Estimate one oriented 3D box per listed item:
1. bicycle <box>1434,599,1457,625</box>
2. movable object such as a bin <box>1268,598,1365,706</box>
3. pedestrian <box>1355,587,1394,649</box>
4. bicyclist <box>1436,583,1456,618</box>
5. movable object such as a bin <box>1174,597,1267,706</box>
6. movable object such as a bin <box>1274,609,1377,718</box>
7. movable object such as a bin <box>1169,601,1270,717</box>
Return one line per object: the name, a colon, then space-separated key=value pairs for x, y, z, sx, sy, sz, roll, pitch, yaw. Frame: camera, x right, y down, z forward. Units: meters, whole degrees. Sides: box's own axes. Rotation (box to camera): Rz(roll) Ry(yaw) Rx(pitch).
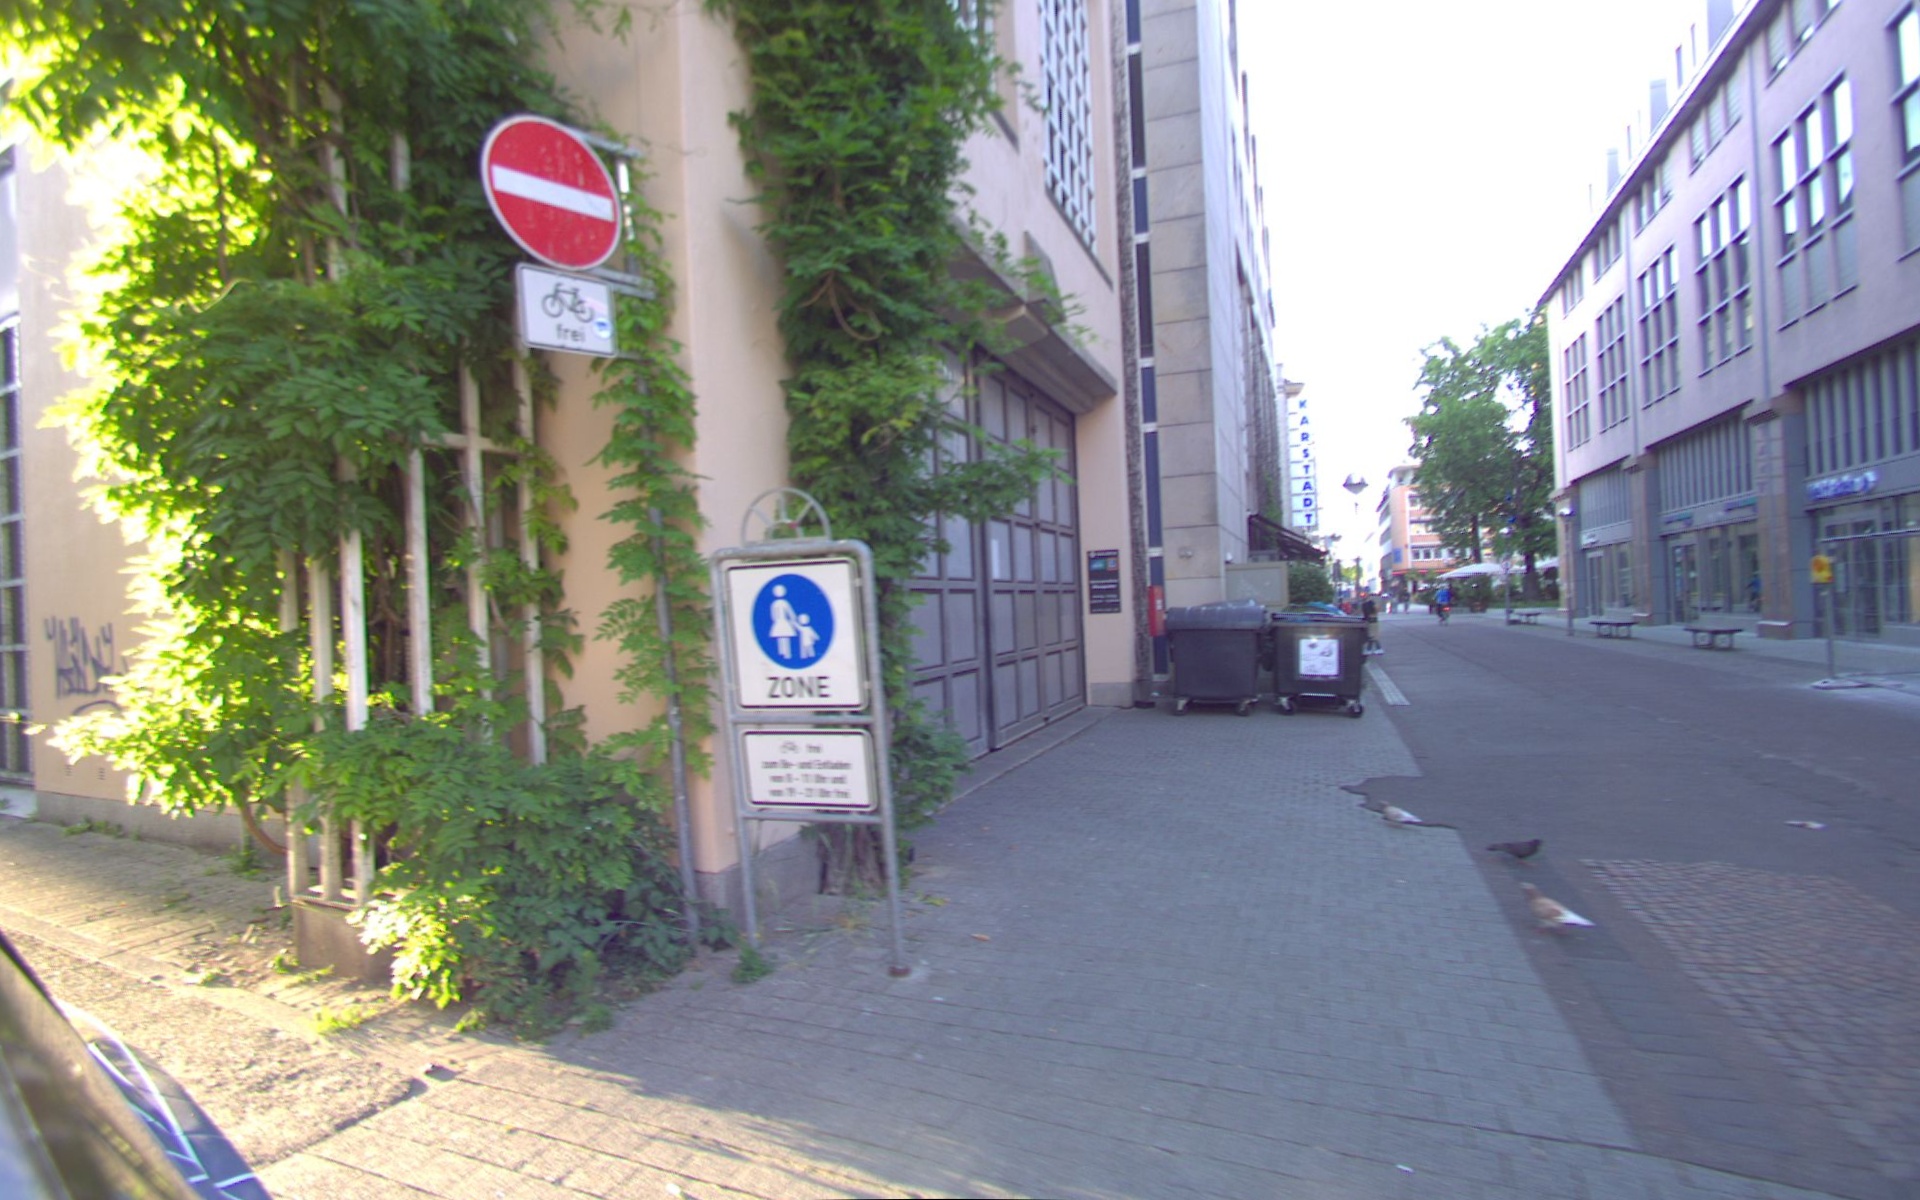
bicycle: x=20.502 y=0.510 z=42.738 sx=0.539 sy=1.059 sz=1.938 roll=-3 pitch=-1 yaw=17
movable object such as a bin: x=5.128 y=0.714 z=14.631 sx=1.267 sy=1.478 sz=1.162 roll=0 pitch=0 yaw=18
pedestrian: x=10.926 y=0.476 z=26.687 sx=0.696 sy=1.599 sz=0.711 roll=-3 pitch=-1 yaw=40
bicyclist: x=20.425 y=0.015 z=42.545 sx=0.584 sy=1.419 sz=0.629 roll=-3 pitch=-1 yaw=18
movable object such as a bin: x=3.793 y=0.726 z=14.679 sx=1.222 sy=1.499 sz=1.162 roll=-1 pitch=0 yaw=18
movable object such as a bin: x=4.810 y=0.797 z=13.417 sx=1.222 sy=1.340 sz=1.162 roll=0 pitch=0 yaw=18
movable object such as a bin: x=3.478 y=0.758 z=13.489 sx=1.222 sy=1.448 sz=1.162 roll=-1 pitch=0 yaw=18
